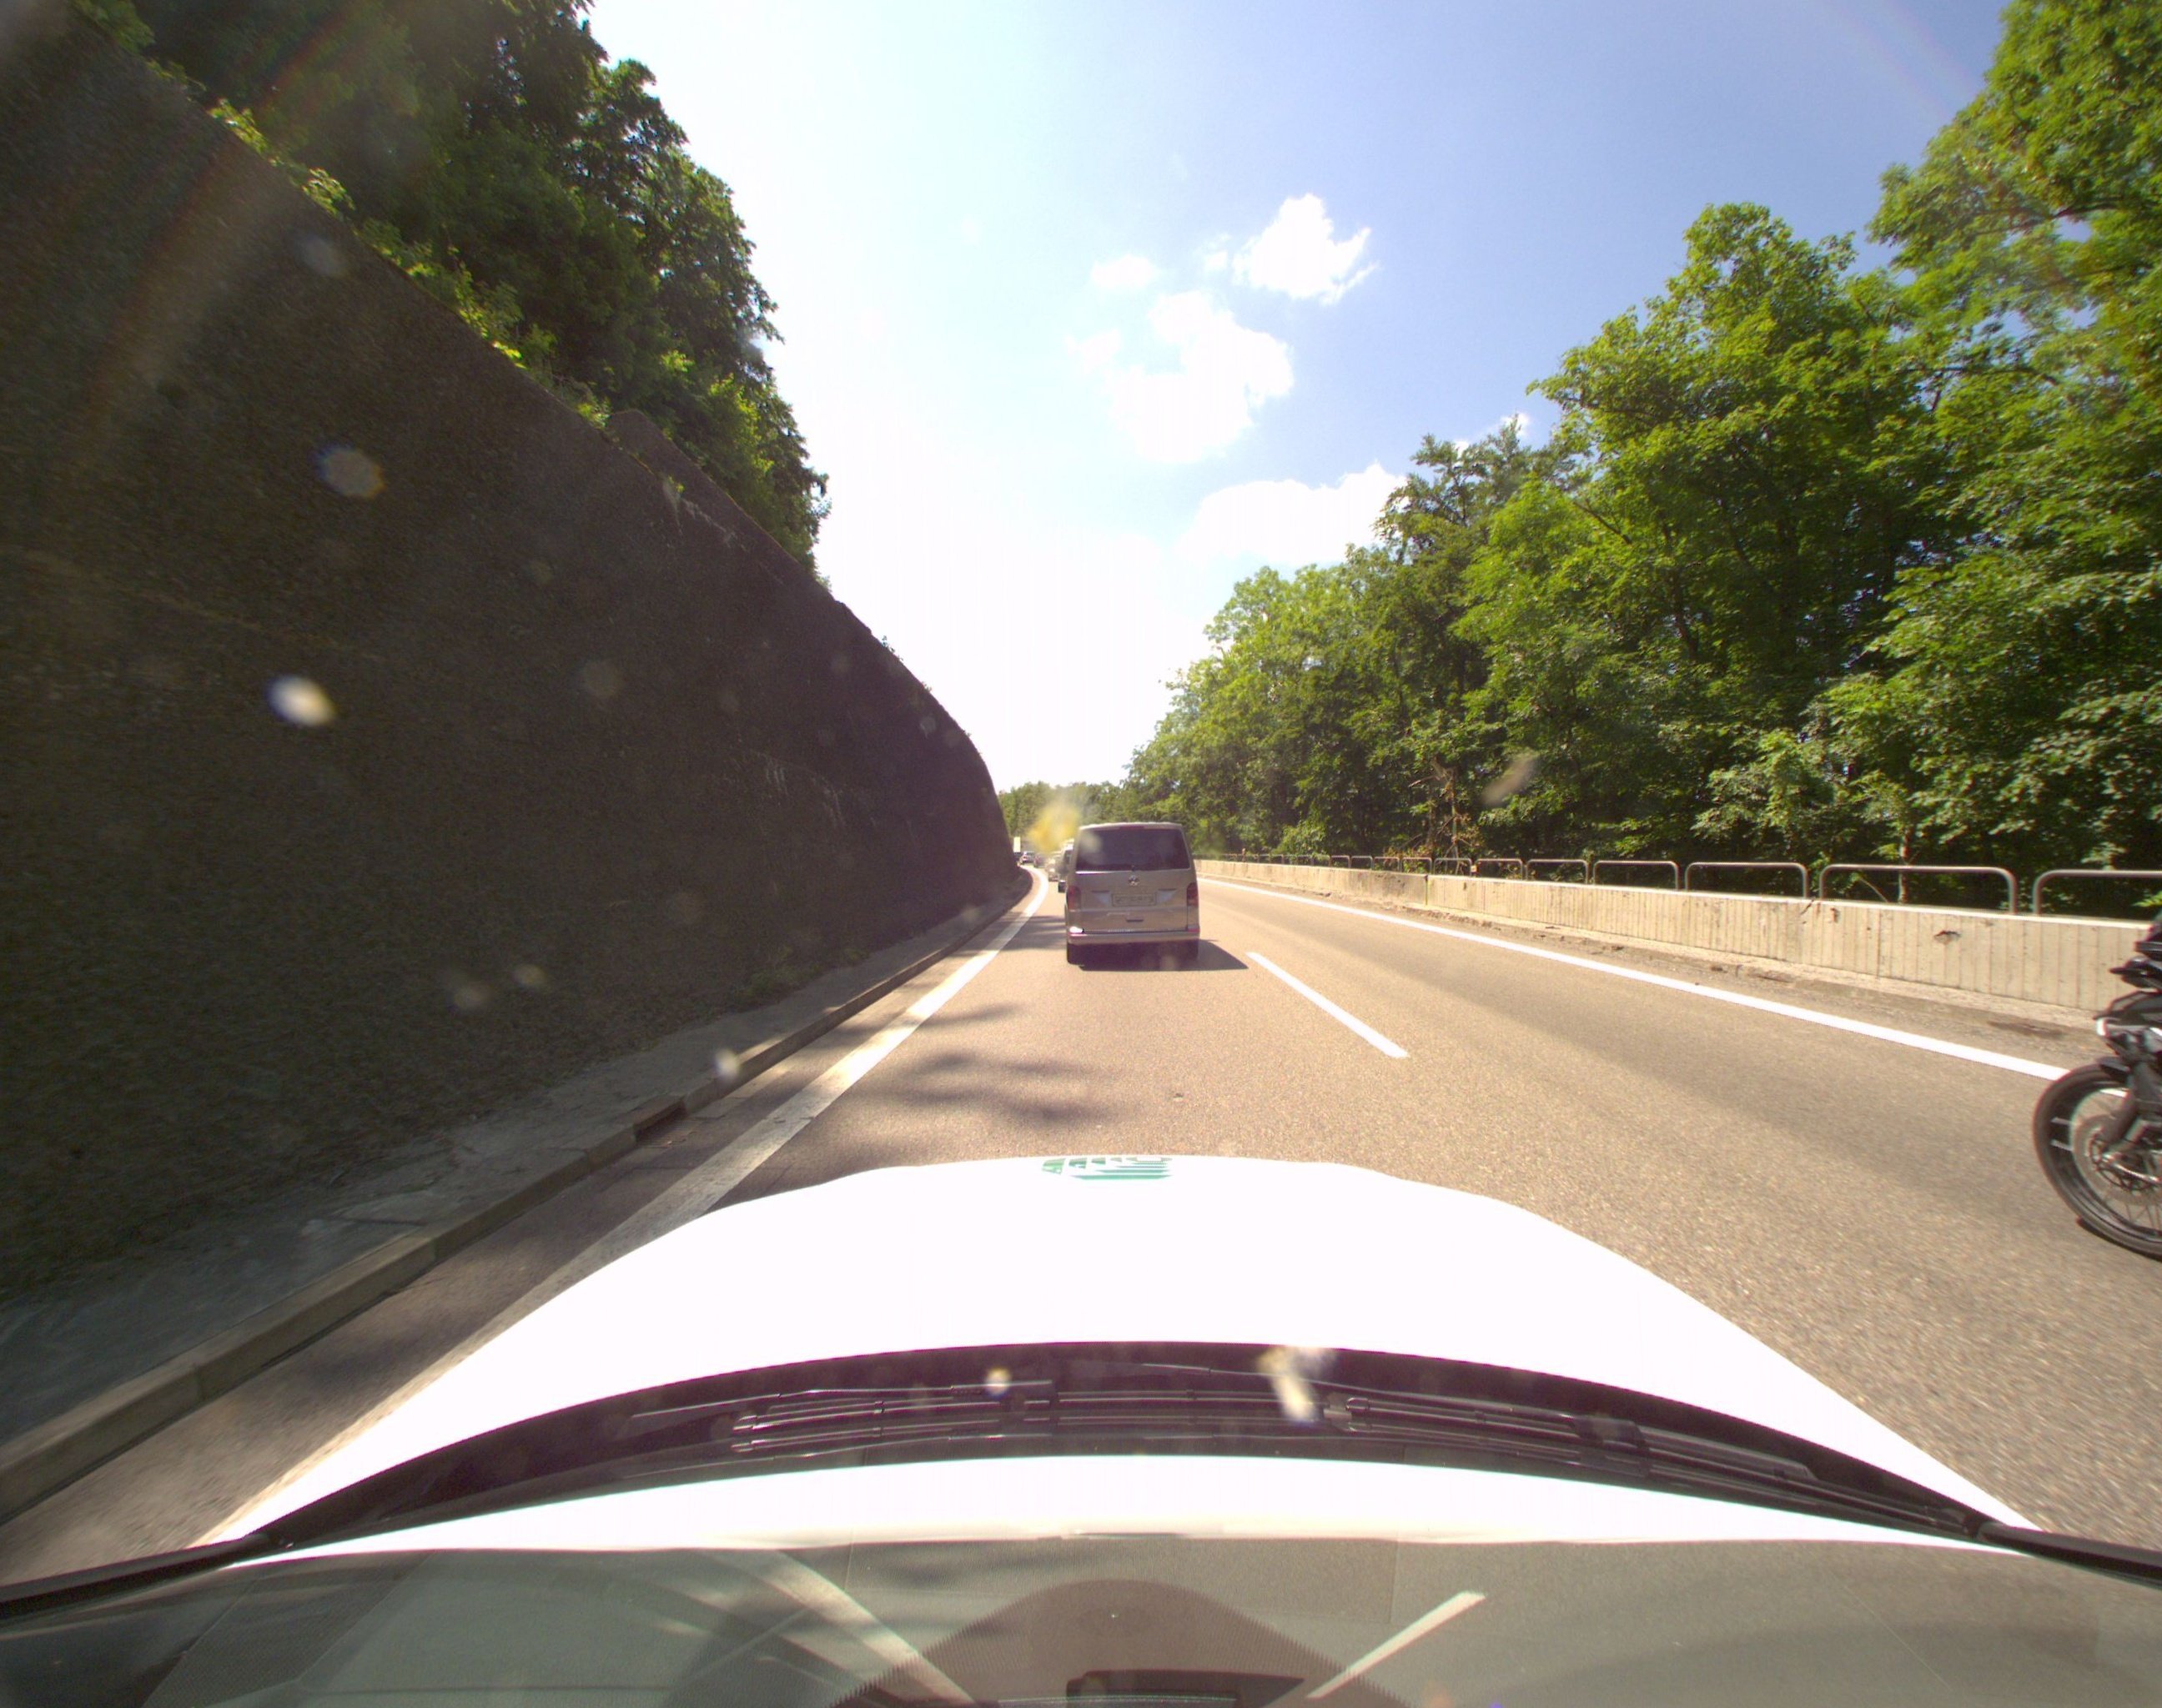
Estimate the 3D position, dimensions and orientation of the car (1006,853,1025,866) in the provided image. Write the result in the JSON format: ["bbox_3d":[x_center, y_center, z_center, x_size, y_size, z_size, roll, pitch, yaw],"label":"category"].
[{"bbox_3d":[-8.193,0.683,101.949,1.754,1.571,3.752,0,0,-15],"label":"car"}]

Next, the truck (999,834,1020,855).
[{"bbox_3d":[-13.273,-1.775,150.006,3.162,3.468,8.197,4,0,-9],"label":"truck"}]

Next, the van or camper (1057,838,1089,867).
[{"bbox_3d":[-0.881,-0.180,87.383,2.601,2.855,6.320,3,0,-7],"label":"van or camper"}]

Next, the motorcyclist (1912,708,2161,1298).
[{"bbox_3d":[3.828,0.453,2.573,1.056,1.800,1.339,0,0,2],"label":"motorcyclist"}]

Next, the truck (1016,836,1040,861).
[{"bbox_3d":[-8.243,-0.807,125.701,2.924,3.687,7.700,-1,0,-9],"label":"truck"}]

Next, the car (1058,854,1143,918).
[{"bbox_3d":[0.405,0.753,21.314,1.900,1.489,4.374,0,0,-3],"label":"car"}]

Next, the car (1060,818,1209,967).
[{"bbox_3d":[0.738,0.500,13.034,1.934,1.931,4.695,0,0,1],"label":"car"}]

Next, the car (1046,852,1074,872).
[{"bbox_3d":[-1.629,0.589,61.875,1.860,1.486,3.993,-1,0,-5],"label":"car"}]

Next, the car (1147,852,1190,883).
[{"bbox_3d":[4.226,0.617,39.847,1.680,1.458,3.999,0,0,-1],"label":"car"}]

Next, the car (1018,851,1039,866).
[{"bbox_3d":[-5.852,0.533,90.505,1.993,1.618,3.987,0,0,-9],"label":"car"}]

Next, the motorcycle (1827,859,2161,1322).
[{"bbox_3d":[3.811,0.735,2.337,0.968,1.419,2.683,0,0,2],"label":"motorcycle"}]

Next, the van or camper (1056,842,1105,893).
[{"bbox_3d":[-0.066,0.519,33.470,1.848,1.942,4.162,-1,0,-2],"label":"van or camper"}]

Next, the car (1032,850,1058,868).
[{"bbox_3d":[-3.353,0.457,75.410,1.858,1.619,3.986,0,0,-10],"label":"car"}]

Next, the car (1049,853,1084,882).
[{"bbox_3d":[-0.834,0.699,44.955,1.768,1.472,3.995,-1,0,-4],"label":"car"}]
